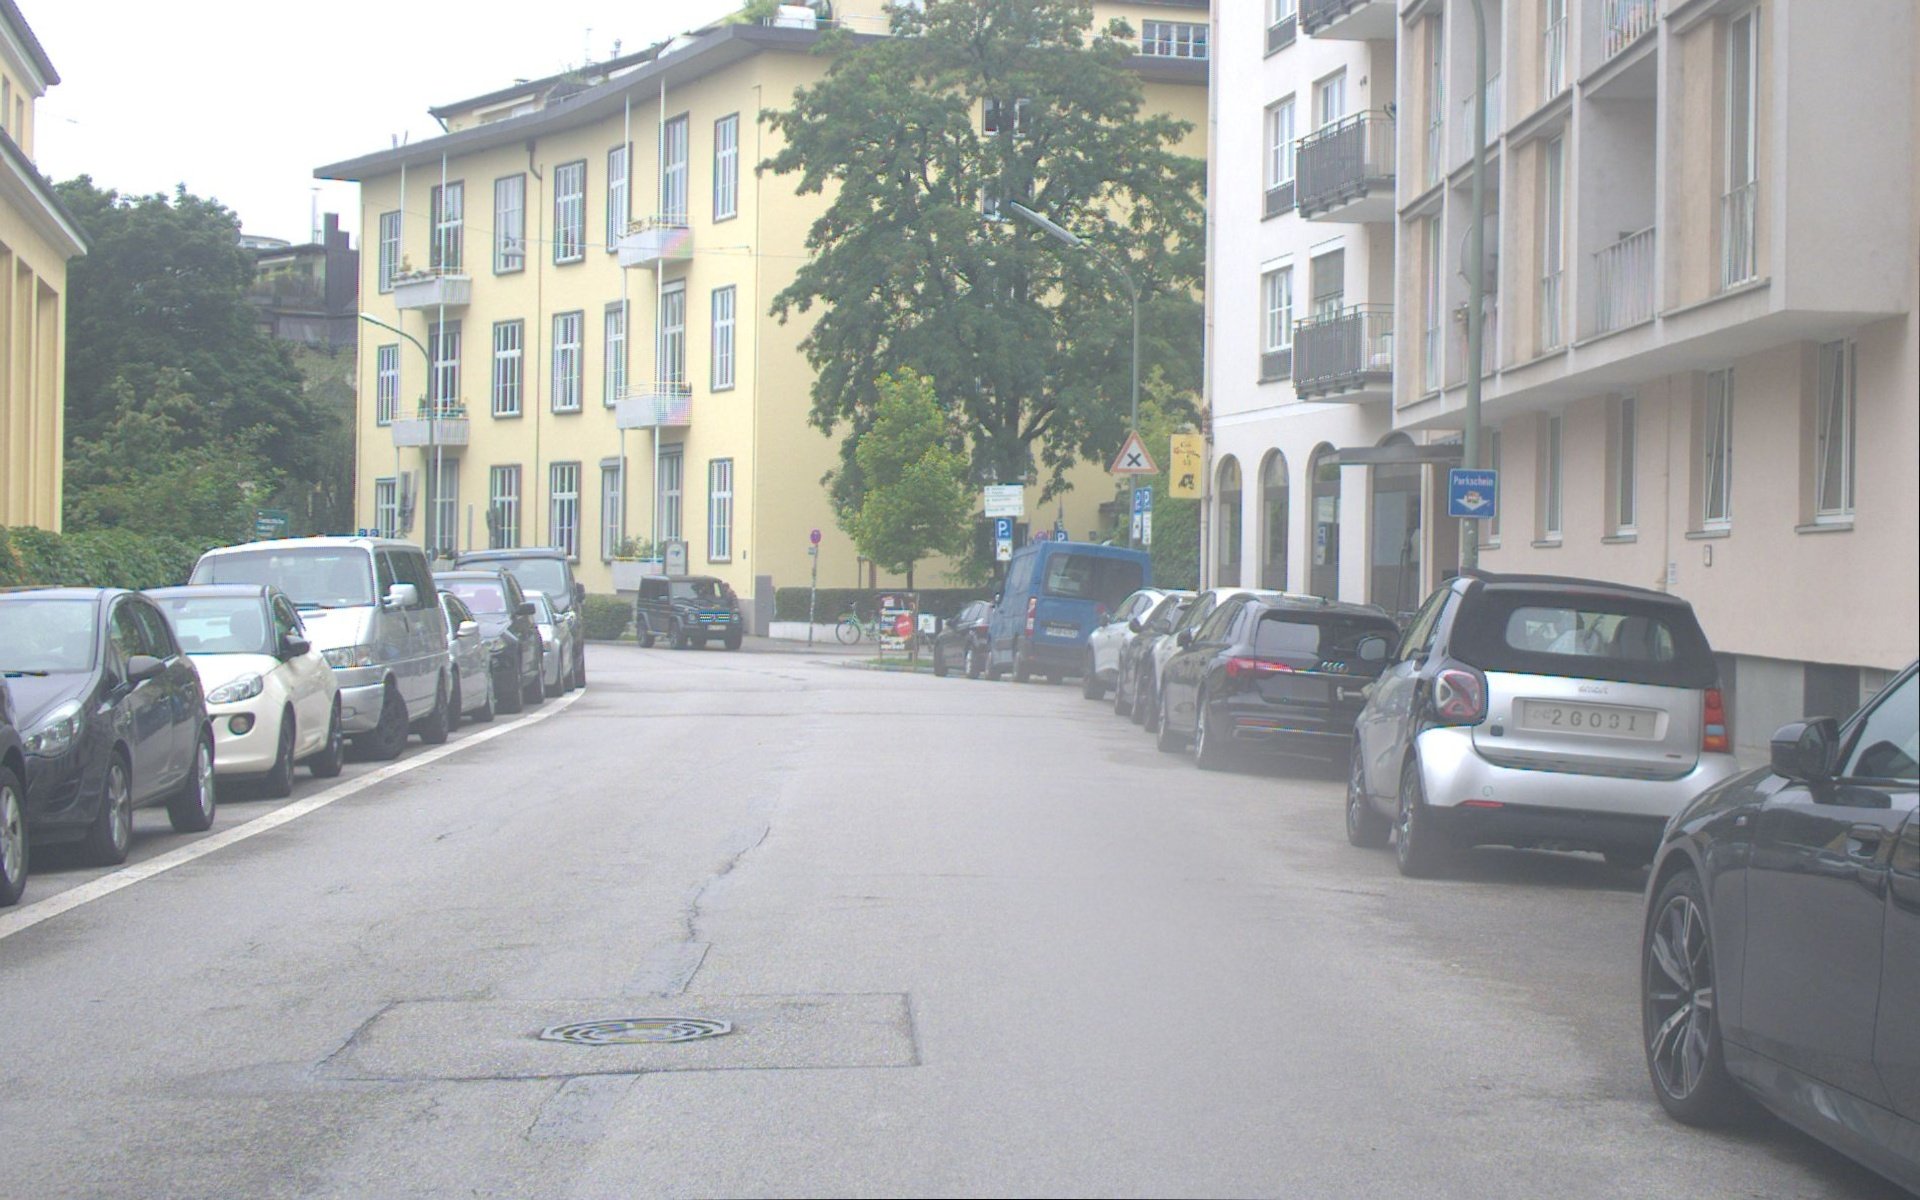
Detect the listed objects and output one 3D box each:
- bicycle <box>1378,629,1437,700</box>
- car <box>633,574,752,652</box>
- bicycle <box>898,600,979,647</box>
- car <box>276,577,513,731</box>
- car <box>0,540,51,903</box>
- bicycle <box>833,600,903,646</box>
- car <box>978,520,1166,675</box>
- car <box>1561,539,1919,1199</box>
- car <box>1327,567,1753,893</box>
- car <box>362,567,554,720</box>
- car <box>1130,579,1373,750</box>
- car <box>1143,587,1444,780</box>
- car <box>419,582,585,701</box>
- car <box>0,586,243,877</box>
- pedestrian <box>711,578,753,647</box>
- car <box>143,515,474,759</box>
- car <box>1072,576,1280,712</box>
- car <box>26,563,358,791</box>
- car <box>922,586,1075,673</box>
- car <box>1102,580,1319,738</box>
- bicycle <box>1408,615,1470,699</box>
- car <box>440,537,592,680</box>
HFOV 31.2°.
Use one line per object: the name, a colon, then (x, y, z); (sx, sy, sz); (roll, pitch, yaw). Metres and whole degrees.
bicycle: (6.109, 0.870, 46.978); (0.455, 0.920, 1.736); (1, 0, -4)
car: (-7.215, 0.337, 92.411); (1.762, 1.868, 4.380); (5, -1, -23)
bicycle: (-0.583, 0.620, 92.261); (2.068, 1.197, 0.595); (1, 0, 13)
car: (-5.746, 0.504, 35.454); (1.653, 1.409, 4.771); (-2, 0, -1)
car: (-5.116, 0.570, 14.129); (1.724, 1.624, 4.466); (-2, 0, -3)
bicycle: (-2.500, 0.622, 93.423); (1.926, 1.197, 0.594); (1, 0, 36)
car: (1.755, 0.019, 55.969); (2.078, 2.226, 5.245); (5, -2, -7)
car: (2.859, 0.661, 7.879); (1.802, 1.479, 5.320); (4, 0, -2)
car: (2.981, 0.626, 18.187); (1.650, 1.490, 2.881); (4, 0, -1)
car: (-5.813, 0.467, 40.213); (1.697, 1.637, 4.490); (-2, 0, -2)
car: (2.795, 0.580, 33.925); (1.694, 1.484, 4.581); (3, 0, -3)
car: (2.706, 0.637, 28.986); (1.745, 1.383, 4.954); (3, 0, -3)
car: (-6.010, 0.510, 45.518); (1.694, 1.388, 4.501); (-4, 1, -2)
car: (-5.206, 0.668, 19.204); (1.603, 1.425, 4.252); (-2, 0, -2)
pedestrian: (-6.148, 0.329, 92.633); (0.874, 1.817, 0.798); (1, 0, -21)
car: (-5.520, 0.283, 29.719); (1.887, 1.883, 4.774); (-2, 0, 0)
car: (2.720, 0.523, 44.290); (1.785, 1.528, 4.649); (4, 0, -6)
car: (-5.363, 0.491, 24.456); (1.591, 1.436, 4.019); (-2, 0, -3)
car: (0.655, 0.512, 62.102); (1.676, 1.384, 4.307); (5, -1, -13)
car: (2.763, 0.610, 38.959); (1.880, 1.517, 5.164); (4, 0, -1)
bicycle: (6.621, 0.776, 47.601); (0.455, 1.107, 1.854); (1, 0, -4)
car: (-6.513, 0.118, 50.760); (2.072, 1.957, 5.351); (-1, 0, -6)
